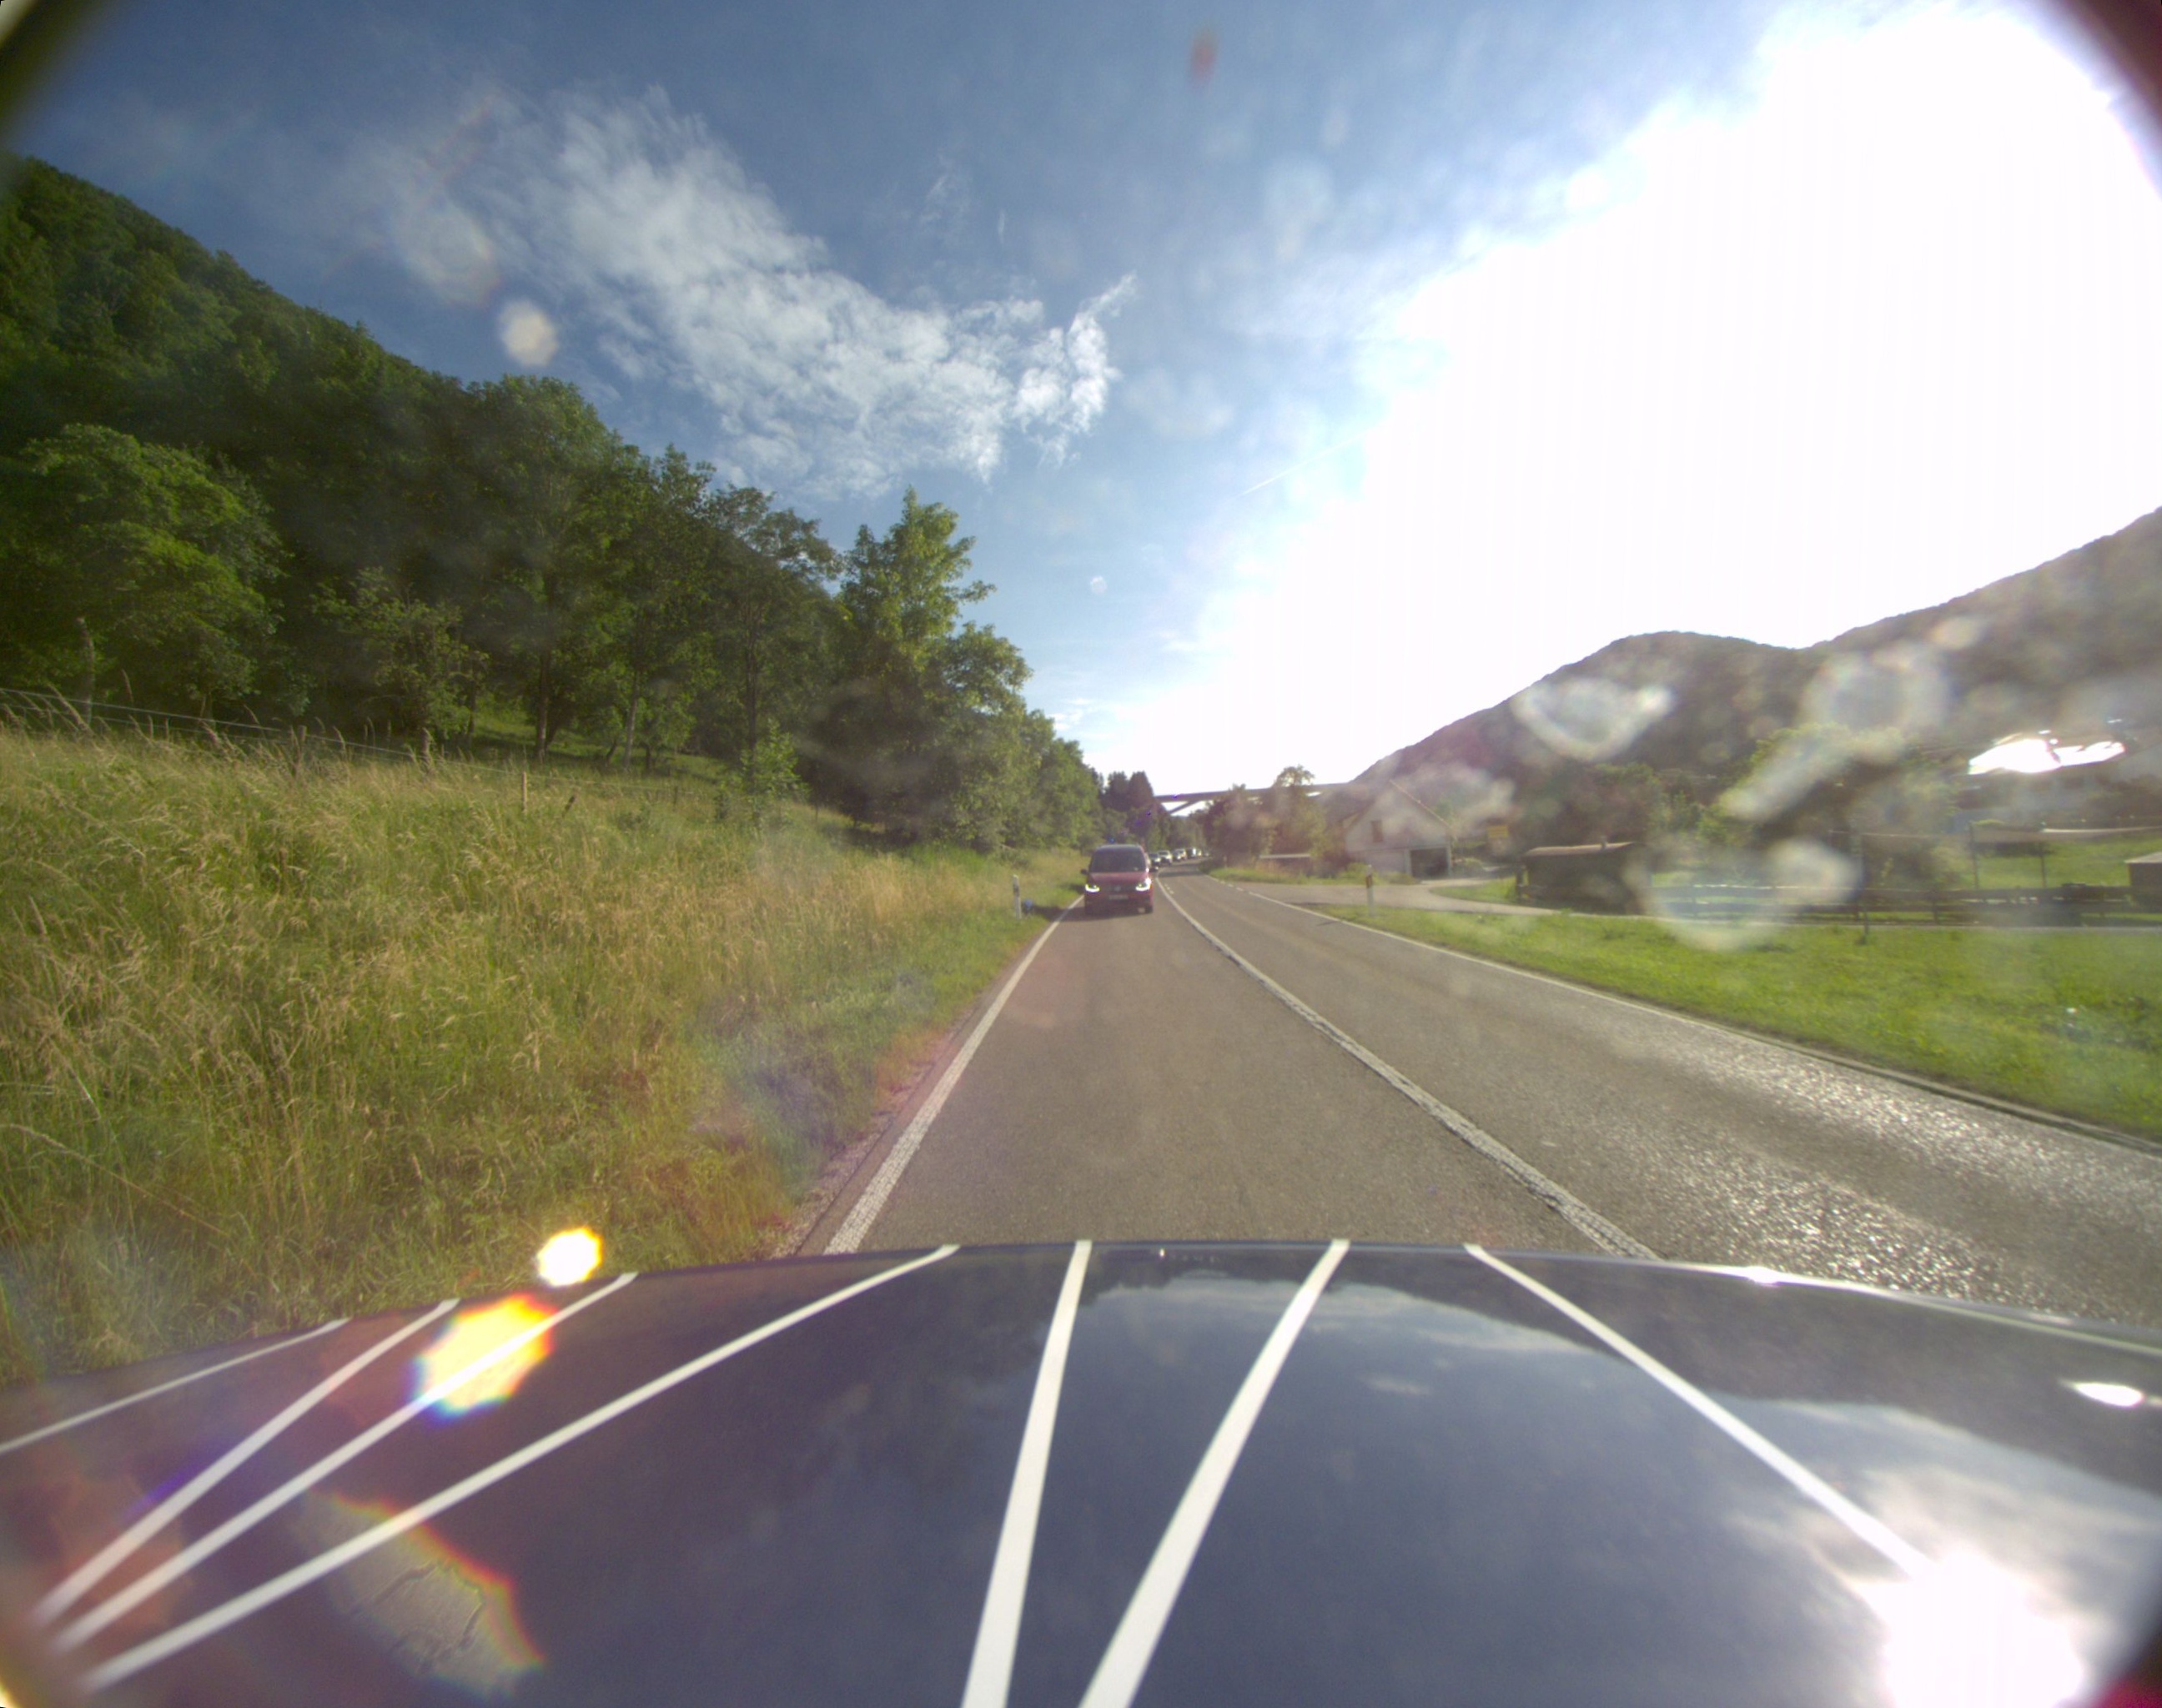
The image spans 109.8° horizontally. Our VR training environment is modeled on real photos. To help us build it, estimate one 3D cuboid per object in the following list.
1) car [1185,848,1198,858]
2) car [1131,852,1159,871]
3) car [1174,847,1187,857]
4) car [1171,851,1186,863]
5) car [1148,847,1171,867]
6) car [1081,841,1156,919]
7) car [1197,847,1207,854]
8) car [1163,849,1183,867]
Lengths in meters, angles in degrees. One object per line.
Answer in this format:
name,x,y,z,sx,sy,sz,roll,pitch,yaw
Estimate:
car,18.963,-0.199,129.963,1.817,1.608,4.003,-1,1,13
car,5.461,0.614,64.844,1.840,1.543,4.181,-1,1,12
car,15.243,-0.312,116.336,1.817,1.608,4.003,-1,1,10
car,13.198,0.363,102.629,1.840,1.543,4.181,-1,1,11
car,7.857,0.281,75.792,1.913,2.002,4.003,-1,1,11
car,1.028,0.631,20.625,1.772,1.855,3.876,-2,0,3
car,26.965,-0.764,169.326,1.840,1.543,4.181,-1,1,12
car,10.376,0.443,85.705,1.913,2.002,4.003,-1,1,11
